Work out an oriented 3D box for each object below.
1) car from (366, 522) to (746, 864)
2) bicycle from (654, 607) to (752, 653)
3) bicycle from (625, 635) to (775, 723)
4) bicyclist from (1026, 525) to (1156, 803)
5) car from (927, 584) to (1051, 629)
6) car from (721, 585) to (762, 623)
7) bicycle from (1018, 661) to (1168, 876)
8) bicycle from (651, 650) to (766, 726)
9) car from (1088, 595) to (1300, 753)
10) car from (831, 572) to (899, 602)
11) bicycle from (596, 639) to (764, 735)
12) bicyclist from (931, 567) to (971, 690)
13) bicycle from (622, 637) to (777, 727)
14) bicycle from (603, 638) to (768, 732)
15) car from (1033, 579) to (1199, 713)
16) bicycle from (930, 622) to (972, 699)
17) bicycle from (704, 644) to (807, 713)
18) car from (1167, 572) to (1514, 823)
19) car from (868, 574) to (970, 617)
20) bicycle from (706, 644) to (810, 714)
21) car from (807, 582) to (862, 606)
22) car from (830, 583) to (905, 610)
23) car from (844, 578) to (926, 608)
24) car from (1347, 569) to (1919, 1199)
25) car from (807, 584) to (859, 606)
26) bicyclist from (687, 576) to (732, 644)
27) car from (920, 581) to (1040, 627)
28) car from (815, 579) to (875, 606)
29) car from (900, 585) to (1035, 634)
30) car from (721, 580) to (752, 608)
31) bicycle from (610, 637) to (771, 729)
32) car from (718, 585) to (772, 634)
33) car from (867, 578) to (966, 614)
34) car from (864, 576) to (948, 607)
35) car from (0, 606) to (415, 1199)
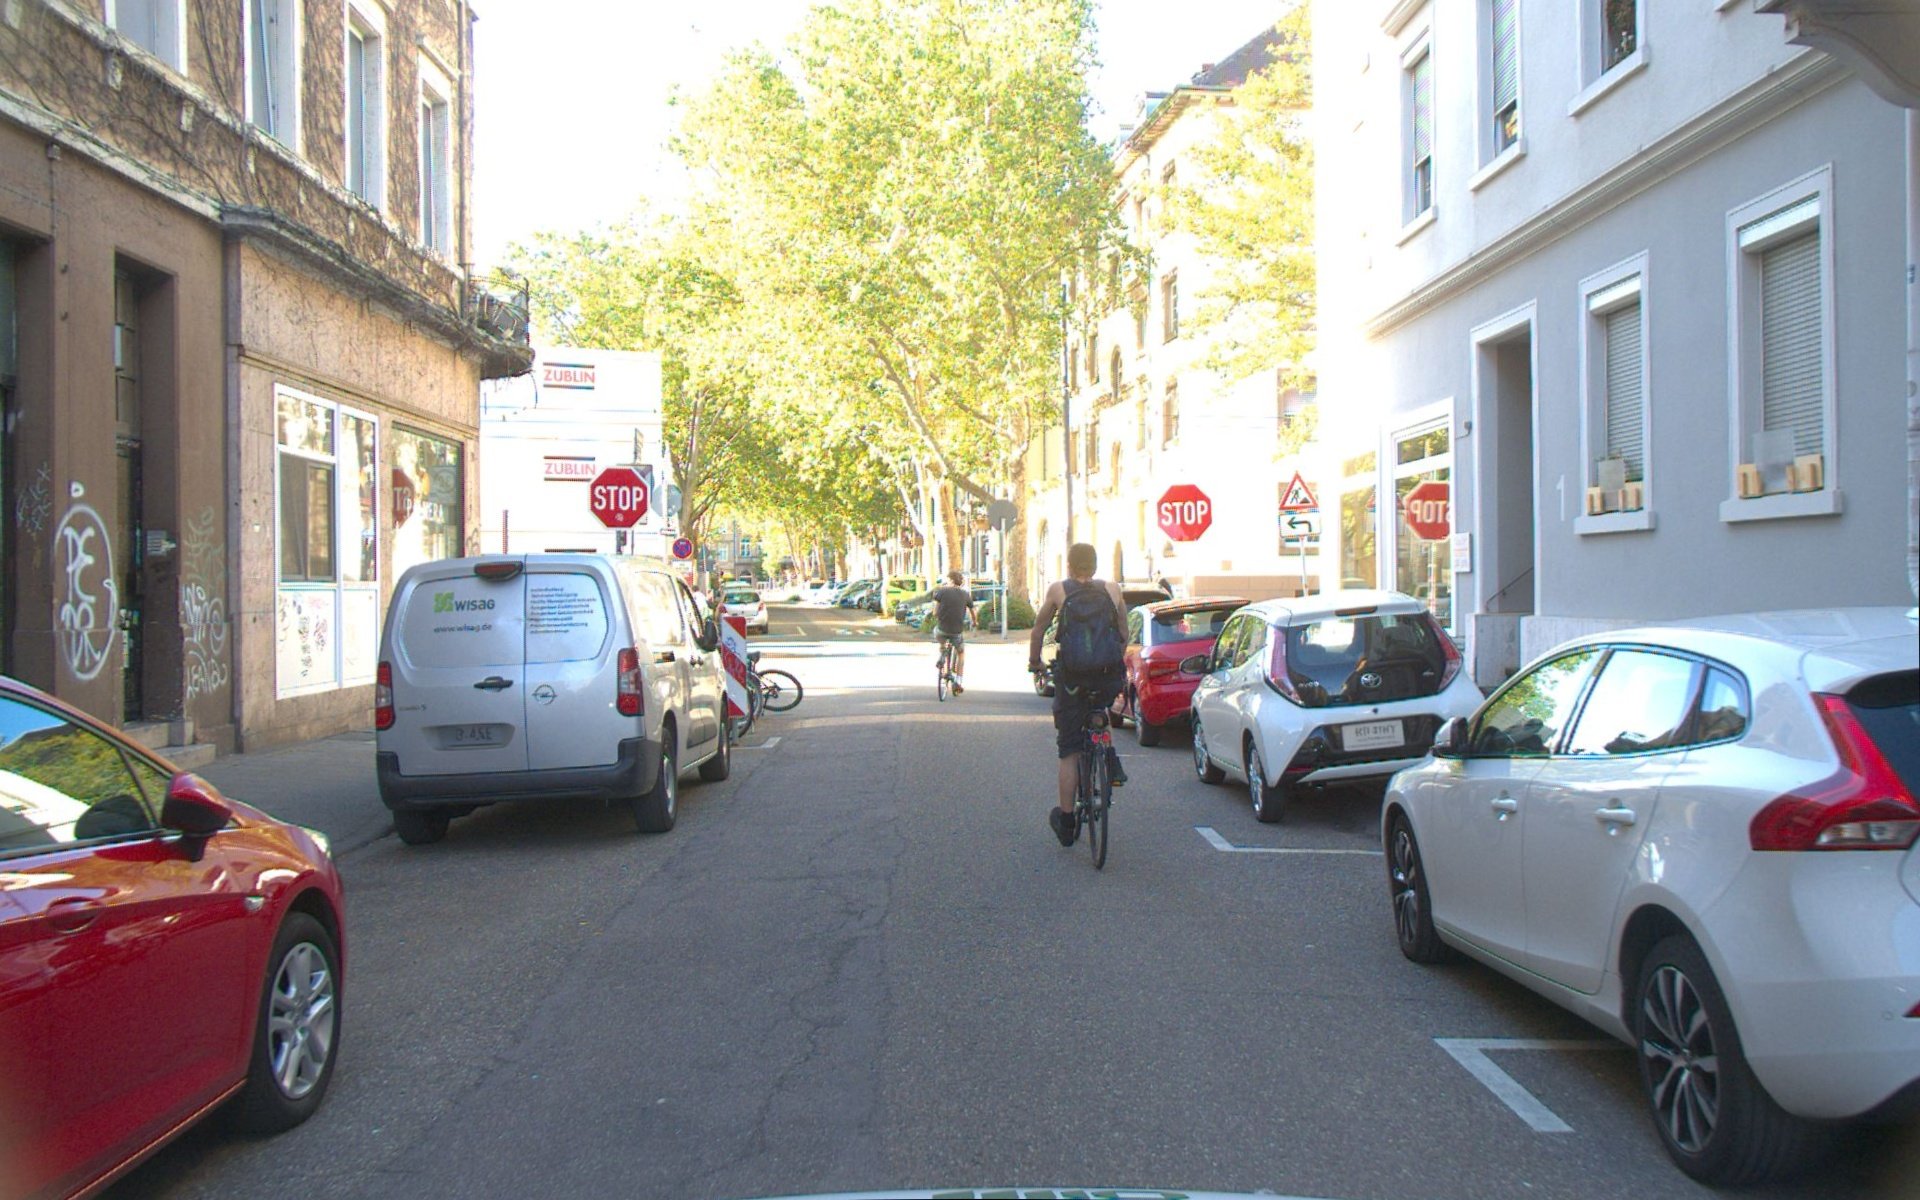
[{"bbox_3d":[-2.713,0.538,12.166,1.645,1.943,4.518,-4,0,-1],"label":"car"},{"bbox_3d":[-6.429,0.760,41.489,2.377,1.112,0.894,-1,-1,-8],"label":"bicycle"},{"bbox_3d":[-3.073,0.925,19.622,1.732,0.978,0.427,-1,0,-9],"label":"bicycle"},{"bbox_3d":[0.745,0.357,9.558,0.662,1.539,0.668,1,0,-1],"label":"bicyclist"},{"bbox_3d":[1.043,0.209,61.490,4.379,1.598,1.725,-1,1,-9],"label":"car"},{"bbox_3d":[-9.561,0.140,72.132,1.635,1.590,3.991,-1,1,-10],"label":"car"},{"bbox_3d":[0.733,0.922,9.635,0.675,1.034,1.907,1,0,-1],"label":"bicycle"},{"bbox_3d":[-3.110,1.085,20.448,1.362,0.832,0.361,-3,1,-11],"label":"bicycle"},{"bbox_3d":[2.482,0.729,18.426,1.612,1.529,3.953,1,0,-3],"label":"car"},{"bbox_3d":[-6.293,-0.871,109.431,4.379,1.931,1.725,-1,0,-9],"label":"car"},{"bbox_3d":[-2.990,0.927,17.729,1.729,0.978,0.405,-1,0,-3],"label":"bicycle"},{"bbox_3d":[-0.133,0.399,23.342,0.531,1.717,0.653,0,0,-2],"label":"bicyclist"},{"bbox_3d":[-3.021,0.943,19.190,1.734,0.978,0.480,-1,0,-14],"label":"bicycle"},{"bbox_3d":[-2.997,0.923,18.145,1.729,0.978,0.422,-1,0,-3],"label":"bicycle"},{"bbox_3d":[2.091,0.571,23.216,1.725,1.691,4.195,1,0,-3],"label":"car"},{"bbox_3d":[-0.134,0.830,23.376,0.540,1.034,1.628,0,0,-2],"label":"bicycle"},{"bbox_3d":[-2.631,1.006,21.302,1.285,0.832,0.370,-1,0,-11],"label":"bicycle"},{"bbox_3d":[2.721,0.626,12.672,1.604,1.614,3.786,1,0,-3],"label":"car"},{"bbox_3d":[-1.842,-0.231,74.327,4.380,1.868,1.724,-1,0,-10],"label":"car"},{"bbox_3d":[-2.561,0.994,20.939,1.285,0.832,0.354,-1,0,-11],"label":"bicycle"},{"bbox_3d":[-10.270,-0.506,135.143,4.379,1.931,1.725,-1,0,-9],"label":"car"},{"bbox_3d":[-5.605,-0.219,99.808,4.379,1.598,1.725,-1,1,-9],"label":"car"},{"bbox_3d":[-4.214,-0.413,92.705,4.379,1.598,1.725,-1,1,-9],"label":"car"},{"bbox_3d":[2.694,0.701,5.583,1.645,1.537,4.188,1,0,-2],"label":"car"},{"bbox_3d":[-11.062,-0.442,144.044,4.379,1.931,1.725,-1,0,-9],"label":"car"},{"bbox_3d":[-6.285,0.248,41.521,1.076,1.668,0.894,0,-1,-8],"label":"bicyclist"},{"bbox_3d":[0.750,0.127,63.553,4.379,1.700,1.725,-1,0,-9],"label":"car"},{"bbox_3d":[-8.652,-0.584,124.800,4.379,1.931,1.725,-1,0,-9],"label":"car"},{"bbox_3d":[0.234,0.300,56.501,4.379,1.598,1.725,-1,1,-9],"label":"car"},{"bbox_3d":[-12.767,-0.356,94.316,1.635,1.590,4.606,-1,1,-10],"label":"car"},{"bbox_3d":[-3.016,0.928,18.590,1.729,0.978,0.443,-1,0,-3],"label":"bicycle"},{"bbox_3d":[-7.292,0.300,55.891,1.614,1.520,3.991,-3,1,-10],"label":"car"},{"bbox_3d":[-2.027,-0.204,76.335,4.379,1.598,1.725,-1,1,-9],"label":"car"},{"bbox_3d":[-2.934,-0.463,89.661,4.379,1.598,1.725,-1,1,-9],"label":"car"},{"bbox_3d":[-2.628,0.821,3.512,1.645,1.499,4.201,-3,0,-3],"label":"car"}]
